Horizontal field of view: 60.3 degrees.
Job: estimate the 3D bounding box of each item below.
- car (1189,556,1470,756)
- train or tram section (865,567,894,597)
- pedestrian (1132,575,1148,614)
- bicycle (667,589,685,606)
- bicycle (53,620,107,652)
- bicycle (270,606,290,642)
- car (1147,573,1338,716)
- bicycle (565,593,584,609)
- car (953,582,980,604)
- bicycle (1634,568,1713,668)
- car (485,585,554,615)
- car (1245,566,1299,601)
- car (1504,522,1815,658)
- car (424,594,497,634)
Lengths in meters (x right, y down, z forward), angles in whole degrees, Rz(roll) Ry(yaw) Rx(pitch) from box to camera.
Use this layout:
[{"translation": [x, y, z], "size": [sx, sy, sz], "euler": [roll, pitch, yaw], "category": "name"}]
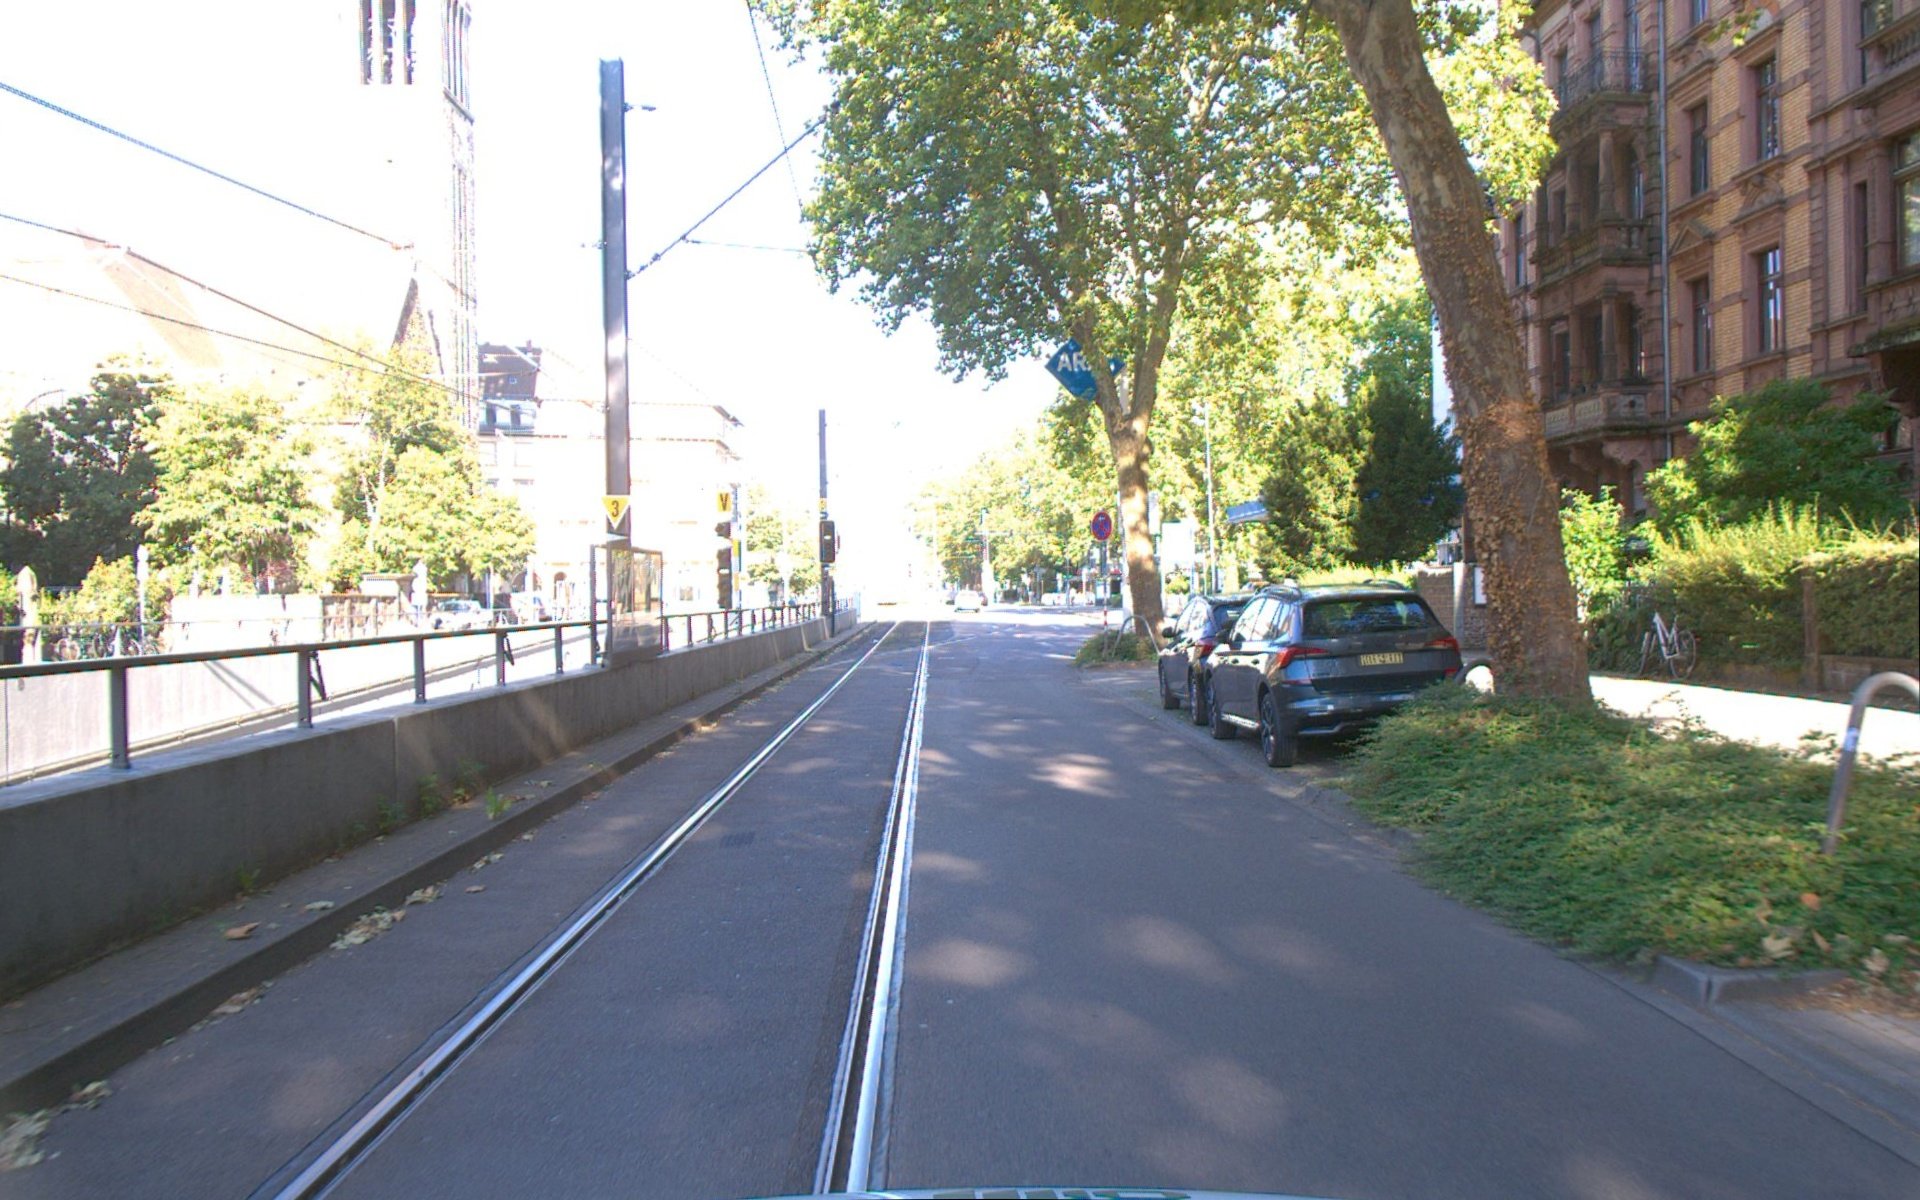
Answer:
[{"translation": [3.398, 0.457, 16.048], "size": [1.584, 1.615, 4.415], "euler": [-2, 0, -2], "category": "car"}, {"translation": [-9.592, -2.152, 197.164], "size": [2.892, 3.469, 10.790], "euler": [2, 0, -1], "category": "train or tram section"}, {"translation": [8.519, -0.274, 78.408], "size": [0.590, 1.807, 0.690], "euler": [-4, 0, 3], "category": "pedestrian"}, {"translation": [-20.958, -0.171, 122.036], "size": [0.618, 1.164, 2.281], "euler": [-3, 1, 6], "category": "bicycle"}, {"translation": [-24.365, 0.983, 45.828], "size": [0.408, 0.814, 1.888], "euler": [2, 0, 2], "category": "bicycle"}, {"translation": [-21.262, 0.746, 51.704], "size": [0.479, 1.040, 1.879], "euler": [2, 0, -24], "category": "bicycle"}, {"translation": [3.354, 0.481, 20.306], "size": [1.520, 1.525, 4.049], "euler": [-2, 0, -1], "category": "car"}, {"translation": [-32.742, 0.080, 140.367], "size": [0.813, 1.305, 2.537], "euler": [1, 1, -31], "category": "bicycle"}, {"translation": [0.407, -0.492, 113.665], "size": [1.710, 1.487, 3.643], "euler": [2, 1, -2], "category": "car"}, {"translation": [9.484, 0.226, 22.034], "size": [0.330, 1.271, 1.767], "euler": [2, 0, 3], "category": "bicycle"}, {"translation": [-28.578, -0.018, 107.415], "size": [3.904, 1.787, 1.895], "euler": [2, 0, 1], "category": "car"}, {"translation": [13.824, -0.724, 73.482], "size": [1.535, 1.455, 4.097], "euler": [-1, 0, -2], "category": "car"}, {"translation": [11.949, -0.174, 28.440], "size": [4.480, 2.049, 1.914], "euler": [-3, 0, -2], "category": "car"}, {"translation": [-21.600, 0.580, 71.646], "size": [1.680, 1.582, 4.510], "euler": [2, 0, 1], "category": "car"}]
